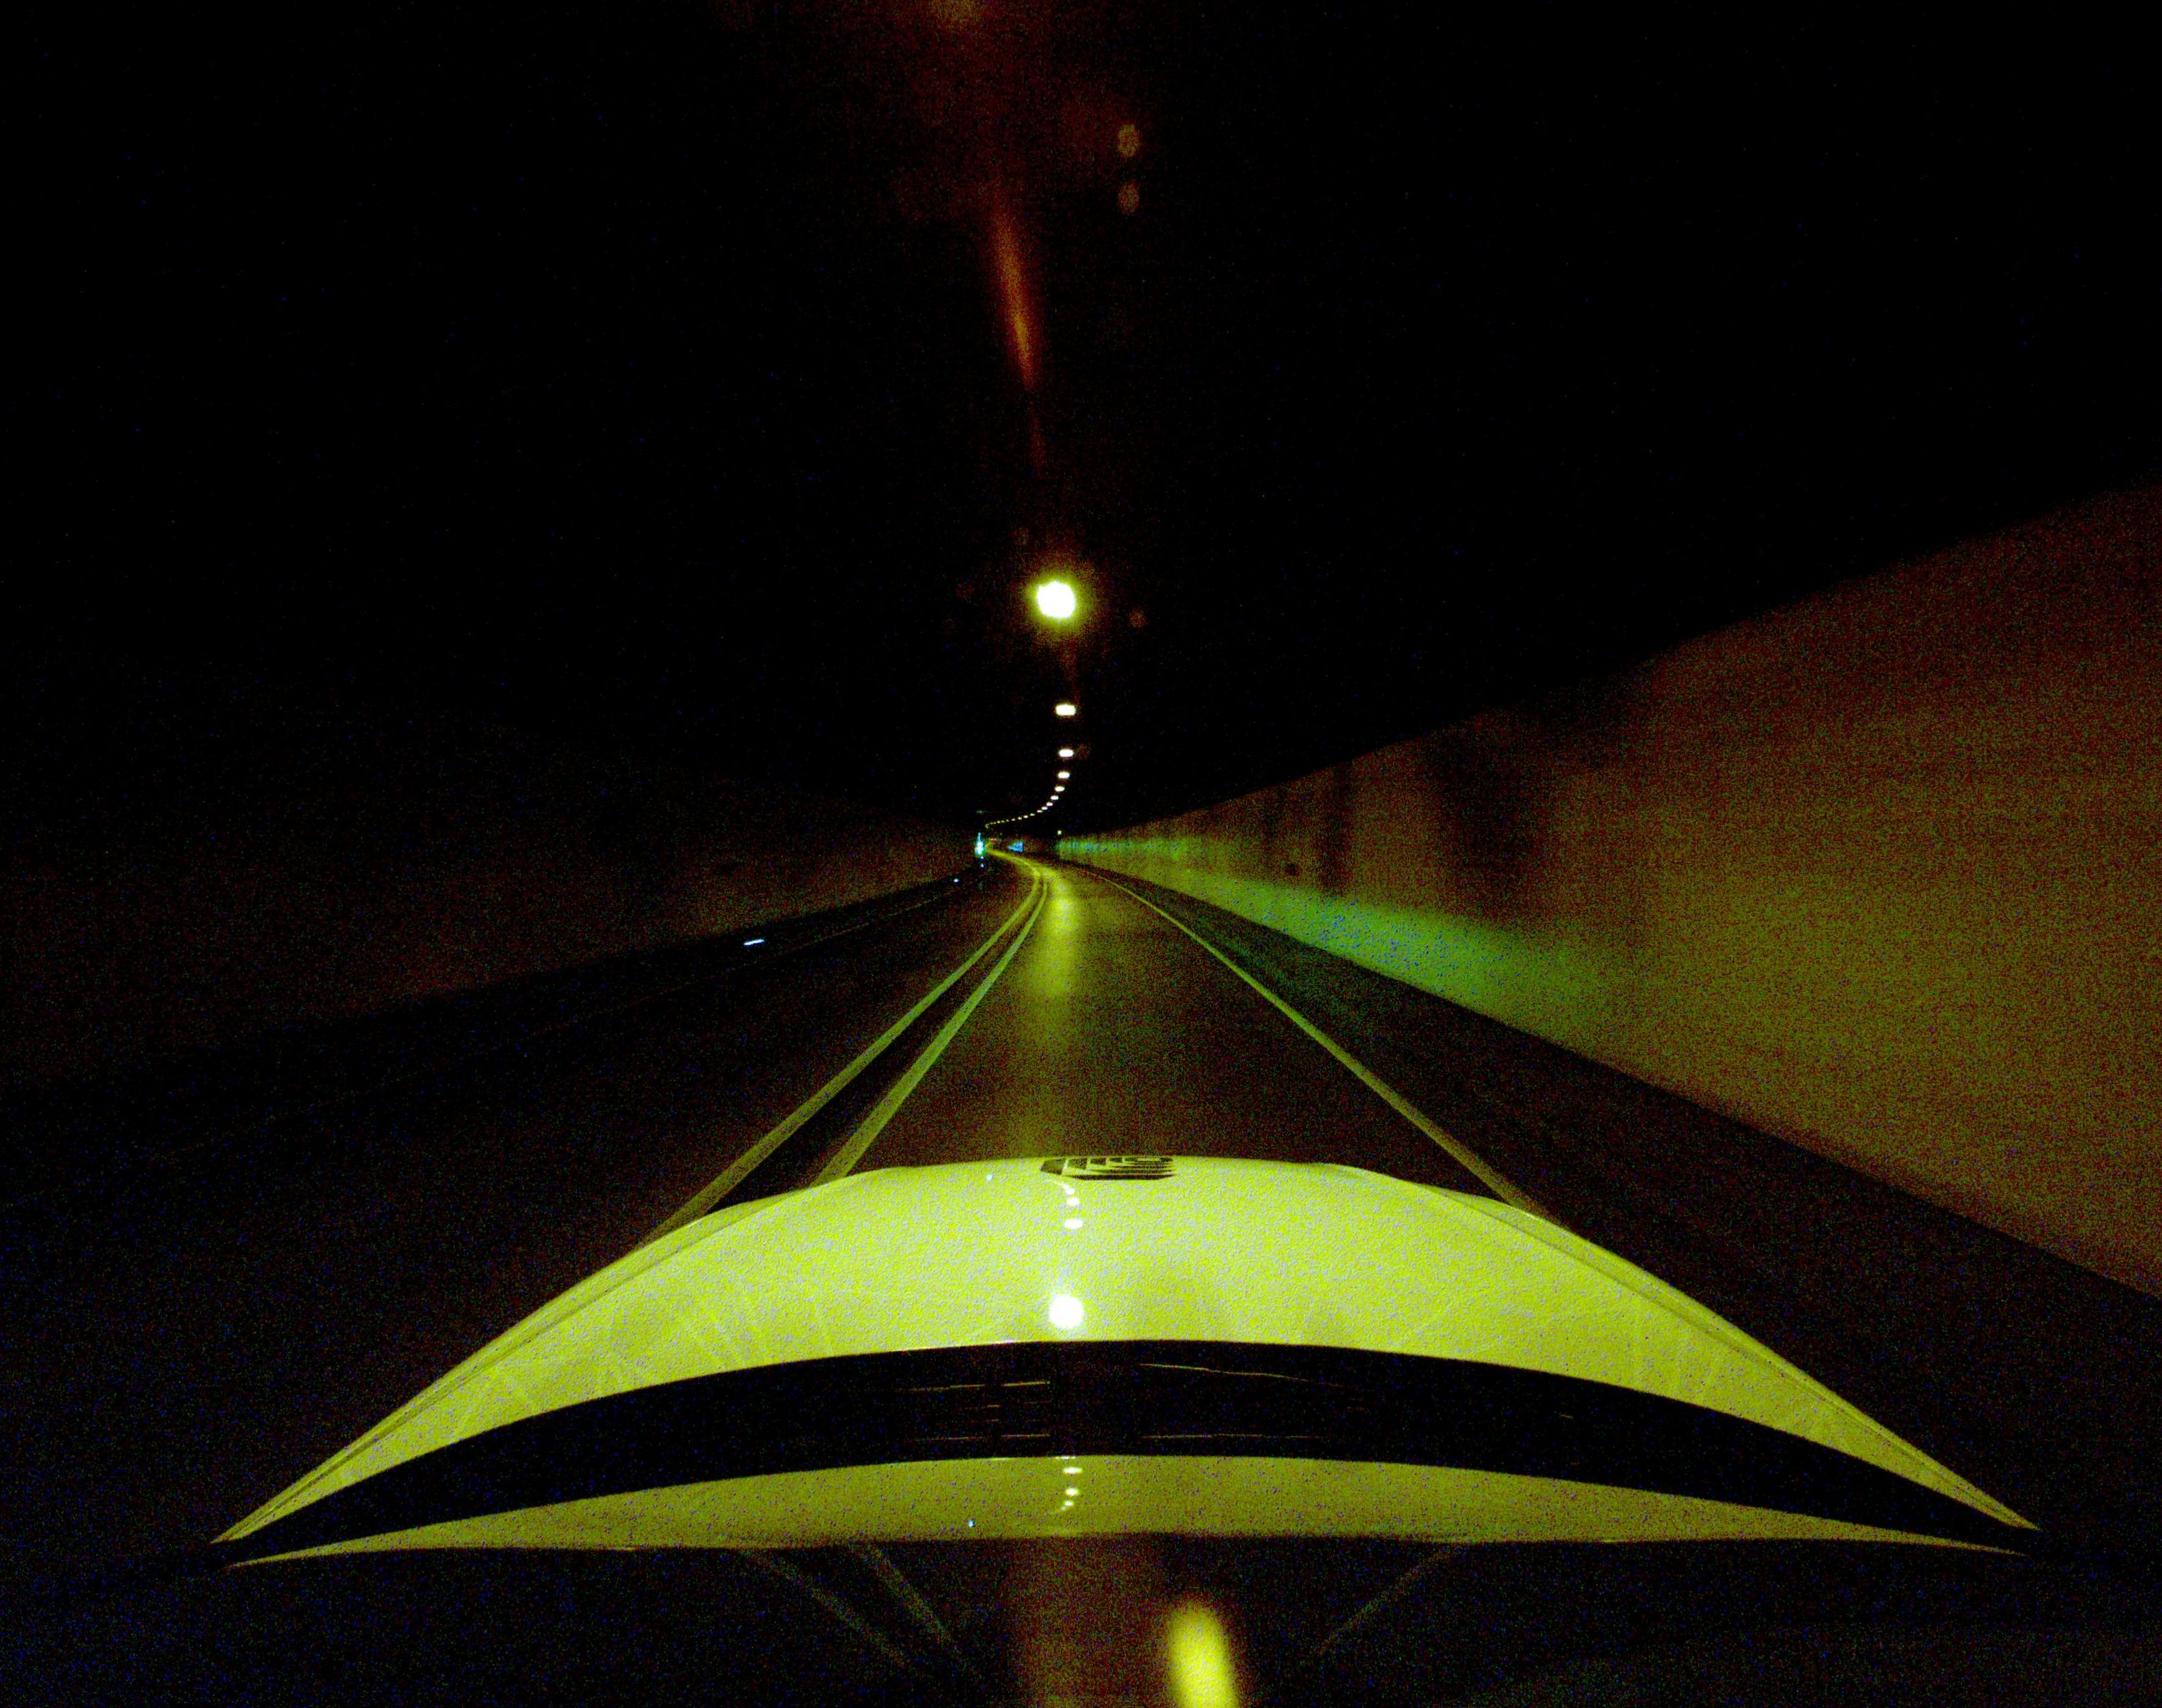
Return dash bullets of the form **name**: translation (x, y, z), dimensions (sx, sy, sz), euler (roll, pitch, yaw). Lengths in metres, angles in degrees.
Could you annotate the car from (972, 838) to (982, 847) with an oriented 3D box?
- **car**: translation (-21.789, -2.361, 170.895), dimensions (1.992, 1.596, 3.988), euler (1, -1, -8)
